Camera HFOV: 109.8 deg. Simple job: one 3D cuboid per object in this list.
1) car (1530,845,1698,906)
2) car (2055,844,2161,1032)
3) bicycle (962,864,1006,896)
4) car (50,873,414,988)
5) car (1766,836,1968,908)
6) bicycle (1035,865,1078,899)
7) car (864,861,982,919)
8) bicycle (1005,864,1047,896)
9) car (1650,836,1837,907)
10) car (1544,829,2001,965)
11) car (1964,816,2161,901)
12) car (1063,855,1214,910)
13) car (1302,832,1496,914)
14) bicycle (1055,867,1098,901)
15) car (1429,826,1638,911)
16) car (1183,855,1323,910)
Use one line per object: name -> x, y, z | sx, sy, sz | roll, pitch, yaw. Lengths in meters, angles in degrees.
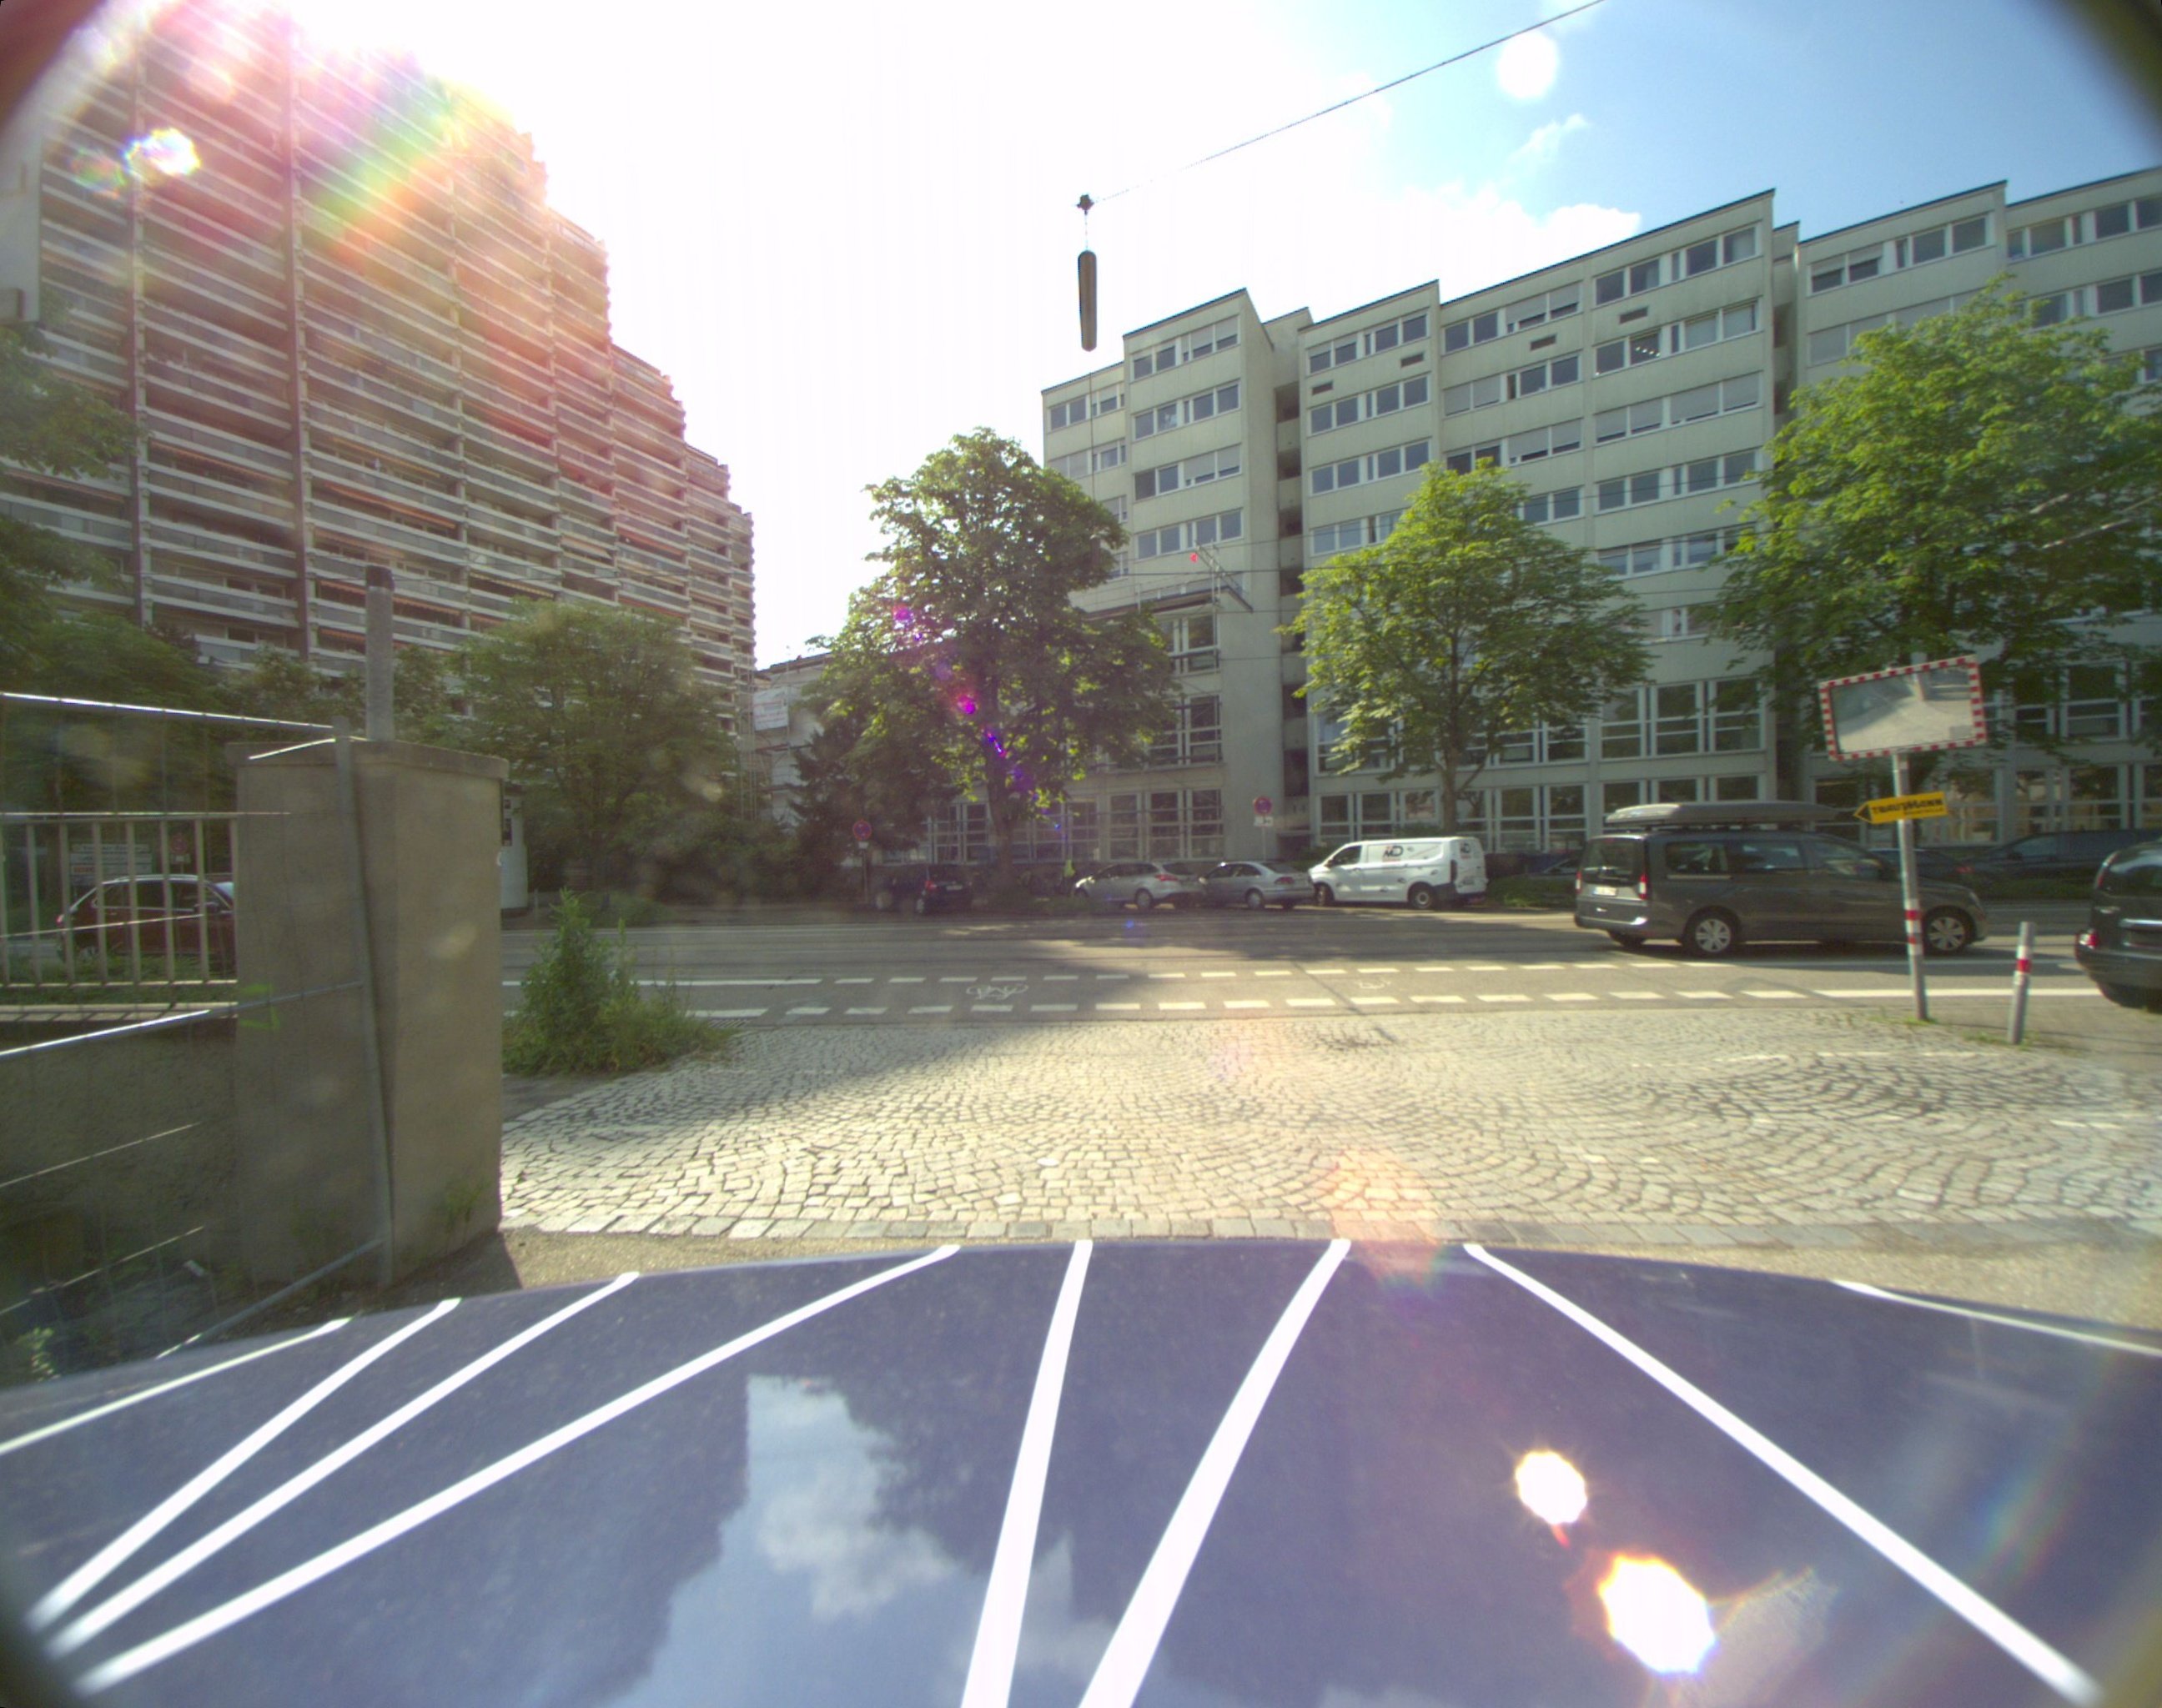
car -> 15.192, 0.610, 21.758 | 1.765, 1.492, 3.627 | -5, 2, -45
car -> 10.961, 0.722, 6.260 | 3.581, 1.602, 1.680 | 0, -1, 3
bicycle -> -4.007, 1.061, 31.486 | 0.496, 1.081, 2.059 | -3, 2, 33
car -> -13.329, 1.152, 12.095 | 3.967, 1.602, 1.679 | 0, 1, 2
car -> 21.686, 0.486, 21.103 | 1.886, 1.702, 3.749 | -6, 3, -42
bicycle -> -0.935, 1.080, 29.748 | 0.496, 1.081, 2.059 | -3, 2, 33
car -> -4.875, 1.058, 23.098 | 1.762, 1.454, 3.989 | -6, 3, -39
bicycle -> -2.199, 1.043, 30.617 | 0.496, 1.081, 2.059 | -3, 2, 33
car -> 18.585, 0.482, 21.410 | 1.886, 1.702, 3.749 | -6, 3, -42
car -> 9.790, 0.578, 11.103 | 4.833, 1.763, 1.947 | -1, 1, 2
car -> 27.995, 0.079, 21.256 | 1.886, 2.071, 4.192 | -9, 7, -42
car -> 1.636, 0.850, 22.999 | 1.743, 1.418, 4.449 | -6, 2, -44
car -> 8.825, 0.441, 21.448 | 1.935, 1.902, 4.629 | -8, 5, -38
bicycle -> -0.147, 1.113, 29.008 | 0.496, 1.081, 2.059 | -3, 2, 33
car -> 12.405, 0.329, 21.086 | 1.906, 1.987, 4.560 | -6, 4, -38
car -> 5.028, 0.795, 22.541 | 1.729, 1.467, 3.773 | 0, -1, -40
